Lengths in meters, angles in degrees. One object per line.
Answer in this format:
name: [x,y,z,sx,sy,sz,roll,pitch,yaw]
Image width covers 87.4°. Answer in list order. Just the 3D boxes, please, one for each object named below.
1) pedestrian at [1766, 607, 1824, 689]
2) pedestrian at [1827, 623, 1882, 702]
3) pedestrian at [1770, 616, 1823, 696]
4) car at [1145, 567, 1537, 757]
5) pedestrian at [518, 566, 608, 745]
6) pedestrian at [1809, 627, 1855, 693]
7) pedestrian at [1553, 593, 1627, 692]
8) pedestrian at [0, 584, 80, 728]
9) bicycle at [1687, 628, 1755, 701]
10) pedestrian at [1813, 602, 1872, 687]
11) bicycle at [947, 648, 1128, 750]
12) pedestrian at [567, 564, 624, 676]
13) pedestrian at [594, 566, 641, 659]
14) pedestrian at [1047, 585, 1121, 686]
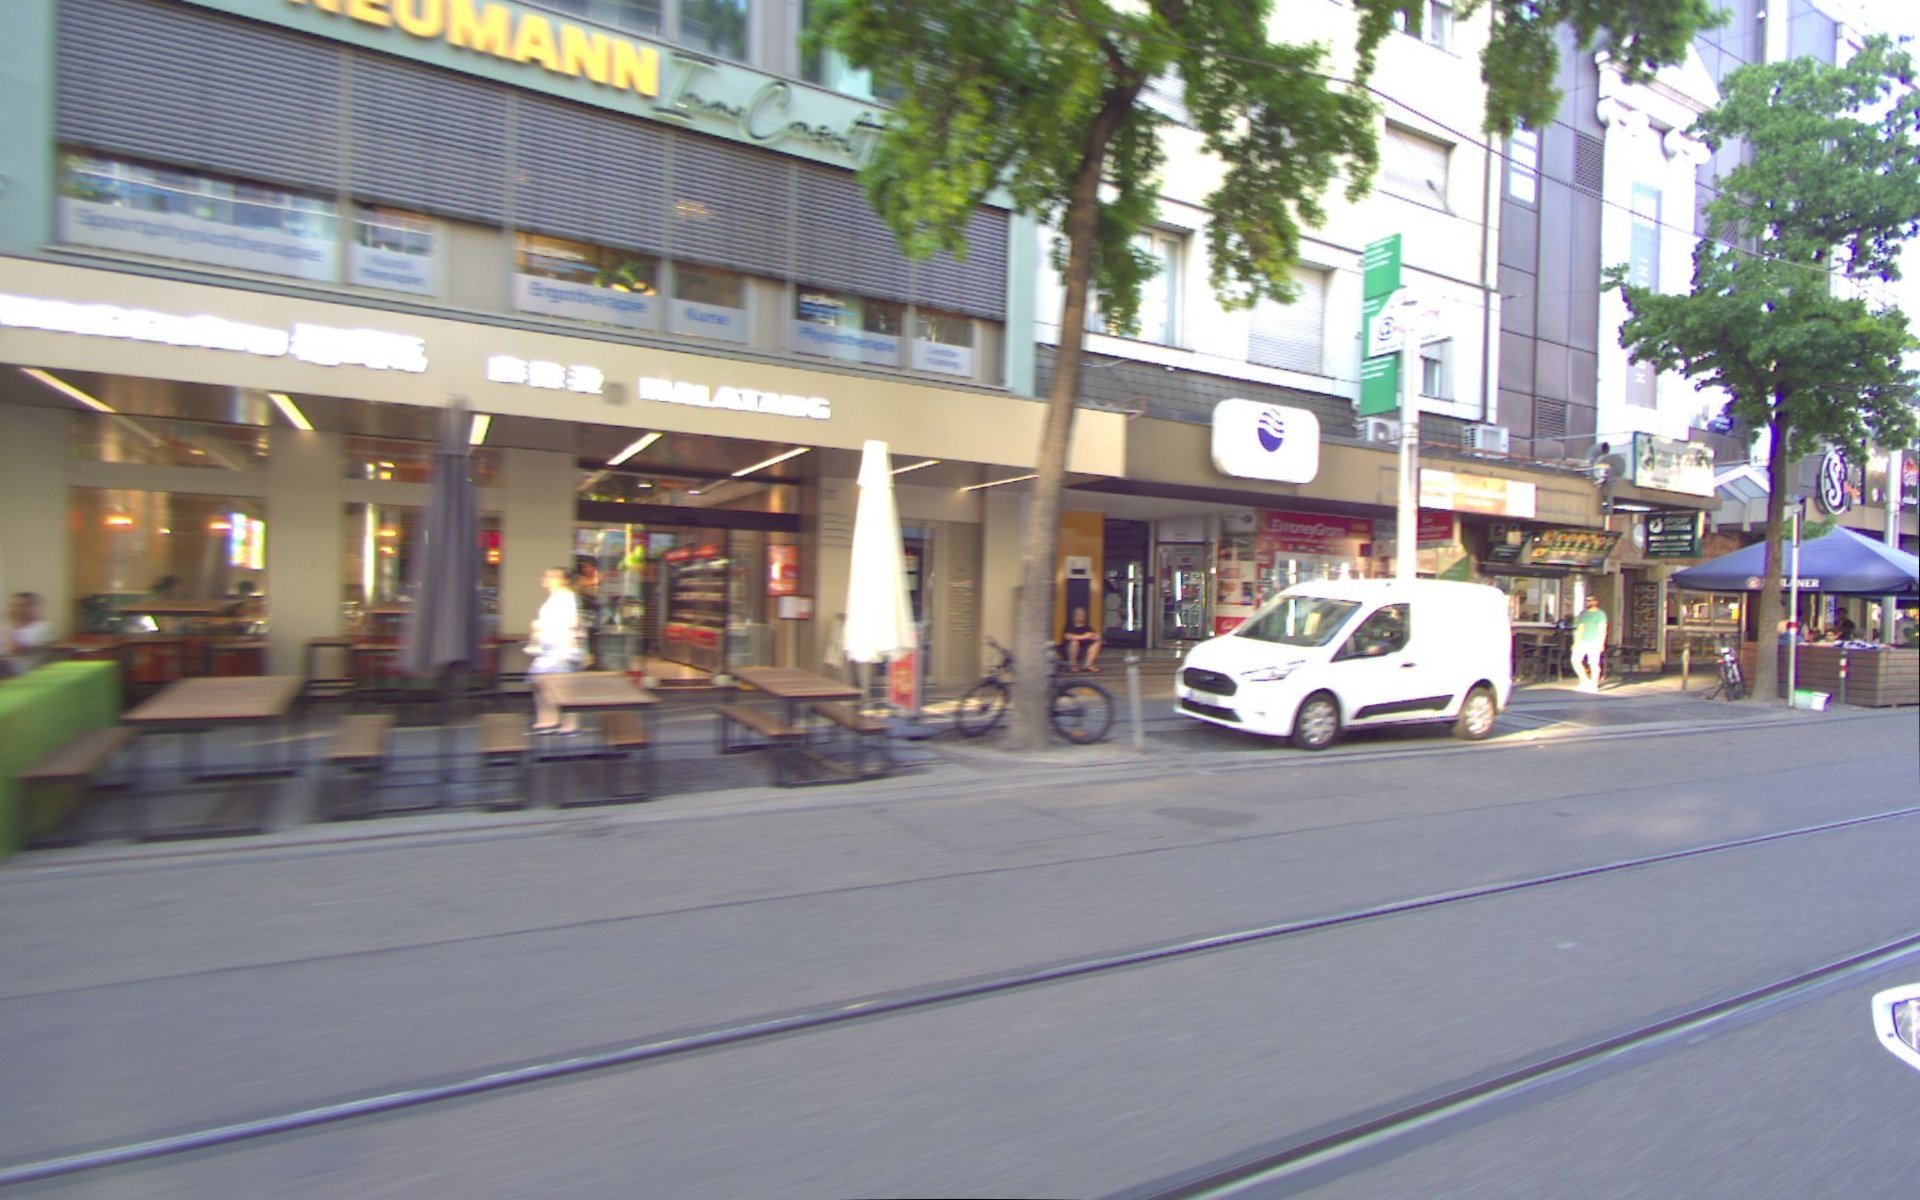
pedestrian: [17.199,0.969,20.699,0.711,1.629,0.670,1,1,-29]
pedestrian: [16.102,1.109,18.081,0.575,1.374,0.547,1,1,-29]
pedestrian: [15.731,1.038,18.896,0.575,1.448,0.547,1,1,-29]
car: [4.598,0.651,12.008,4.496,1.890,1.788,1,3,-28]
pedestrian: [-3.766,0.501,9.505,0.692,1.595,0.644,1,3,-29]
pedestrian: [16.893,1.151,19.468,0.529,1.244,0.492,1,1,-29]
pedestrian: [11.385,0.757,18.159,0.993,1.708,0.663,1,2,-29]
pedestrian: [-8.563,0.477,8.864,1.052,1.204,0.749,1,3,-29]
bicycle: [13.740,1.125,18.107,0.690,1.136,2.074,5,4,43]
pedestrian: [18.835,0.938,21.438,0.667,1.748,0.714,1,1,-29]
bicycle: [0.850,1.029,10.713,1.822,0.876,0.837,2,2,10]
pedestrian: [-5.647,0.305,15.556,0.724,1.673,0.695,1,3,-27]
pedestrian: [-6.228,0.220,18.254,0.696,1.626,0.695,1,3,-27]
pedestrian: [1.920,0.542,15.597,0.756,1.487,0.765,1,3,-31]
